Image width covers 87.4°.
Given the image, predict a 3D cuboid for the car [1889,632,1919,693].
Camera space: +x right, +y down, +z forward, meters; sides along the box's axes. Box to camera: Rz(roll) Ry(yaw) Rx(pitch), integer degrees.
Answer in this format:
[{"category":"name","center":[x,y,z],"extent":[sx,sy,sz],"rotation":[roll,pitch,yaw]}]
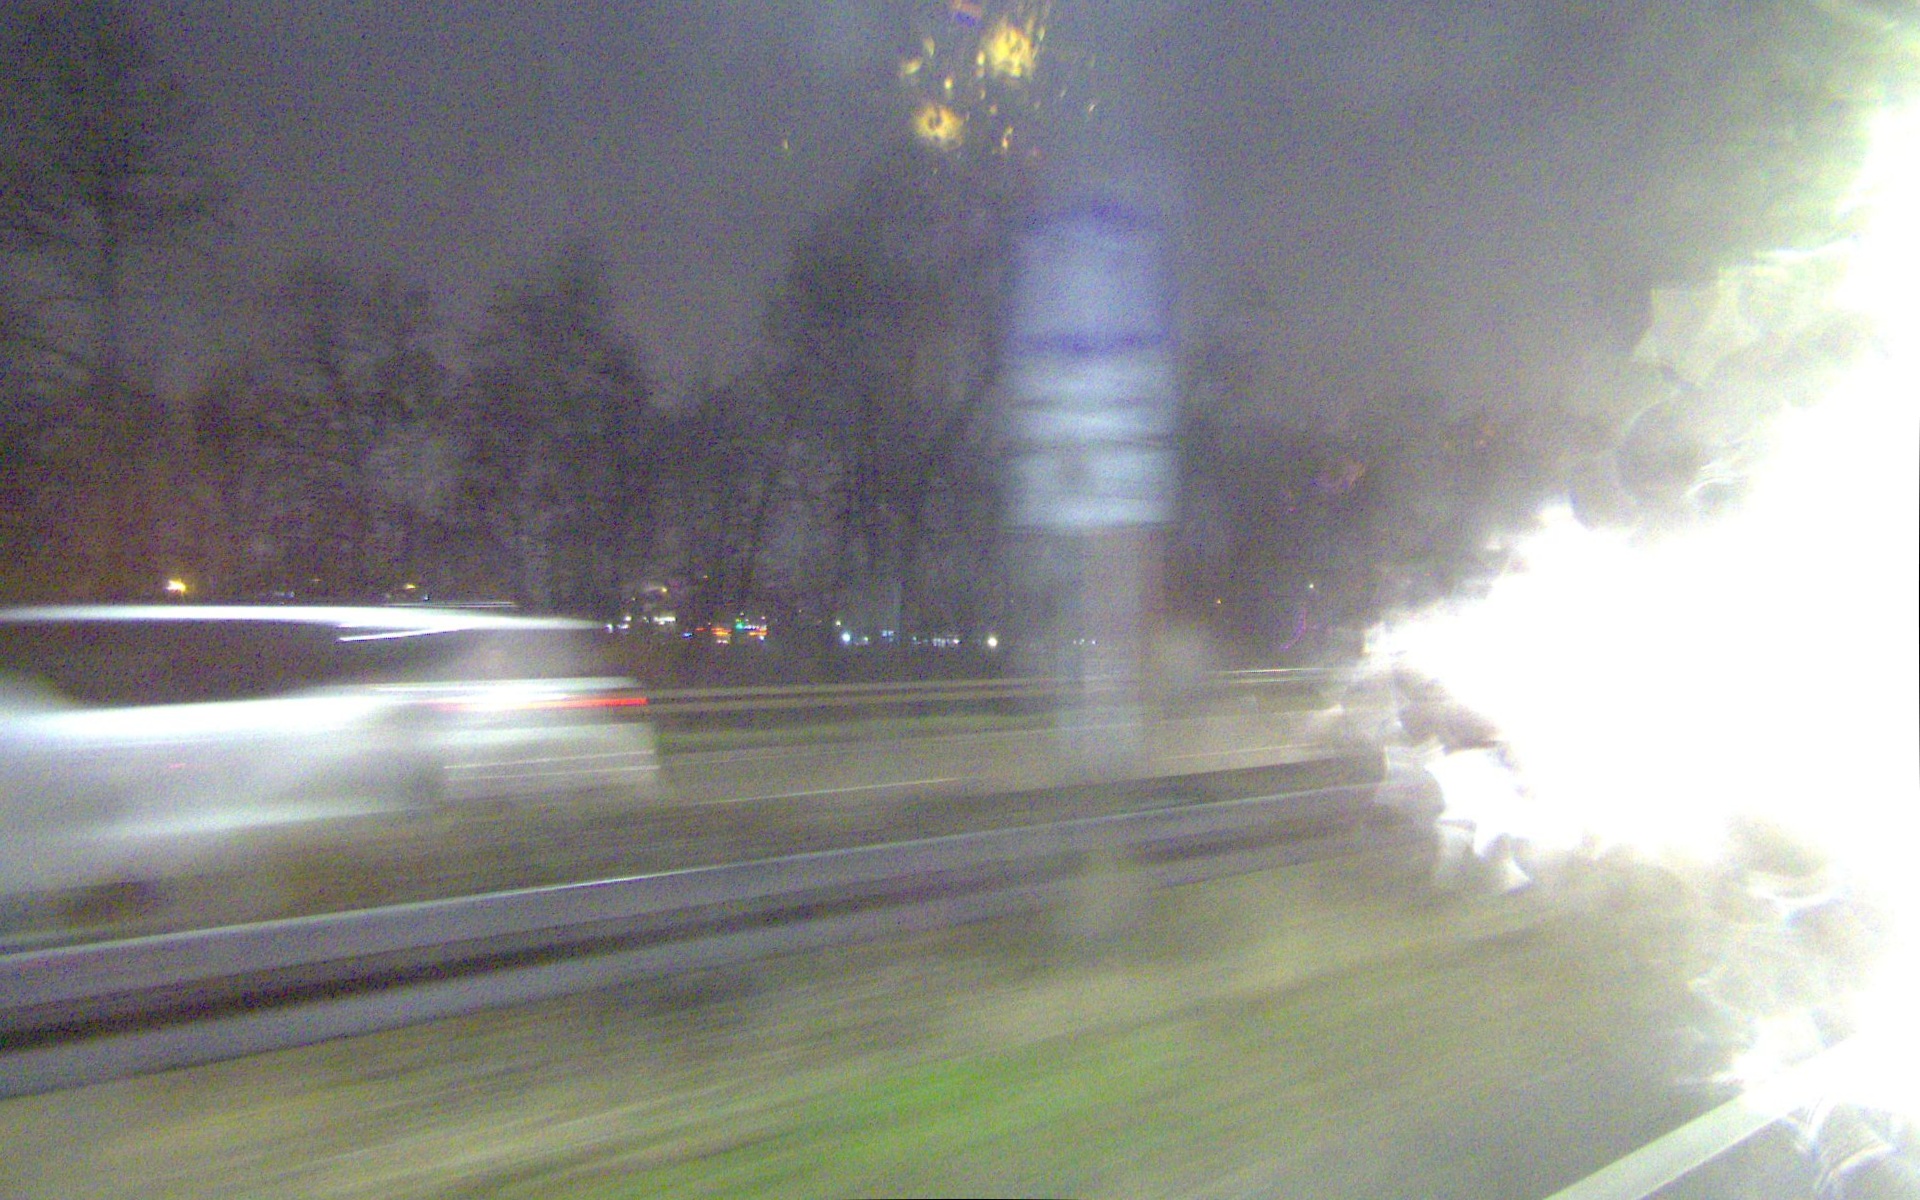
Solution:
[{"category":"car","center":[26.997,1.619,27.188],"extent":[3.959,1.588,1.798],"rotation":[1,-5,-35]}]

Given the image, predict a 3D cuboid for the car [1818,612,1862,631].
[{"category":"car","center":[91.425,2.170,104.366],"extent":[1.960,1.709,4.000],"rotation":[2,2,18]}]

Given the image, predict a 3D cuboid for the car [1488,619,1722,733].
[{"category":"car","center":[10.046,1.126,15.543],"extent":[4.120,1.562,1.558],"rotation":[1,-4,-35]}]

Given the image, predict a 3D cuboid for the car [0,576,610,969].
[{"category":"car","center":[-4.068,0.770,5.280],"extent":[3.957,1.673,1.611],"rotation":[1,-2,-33]}]
